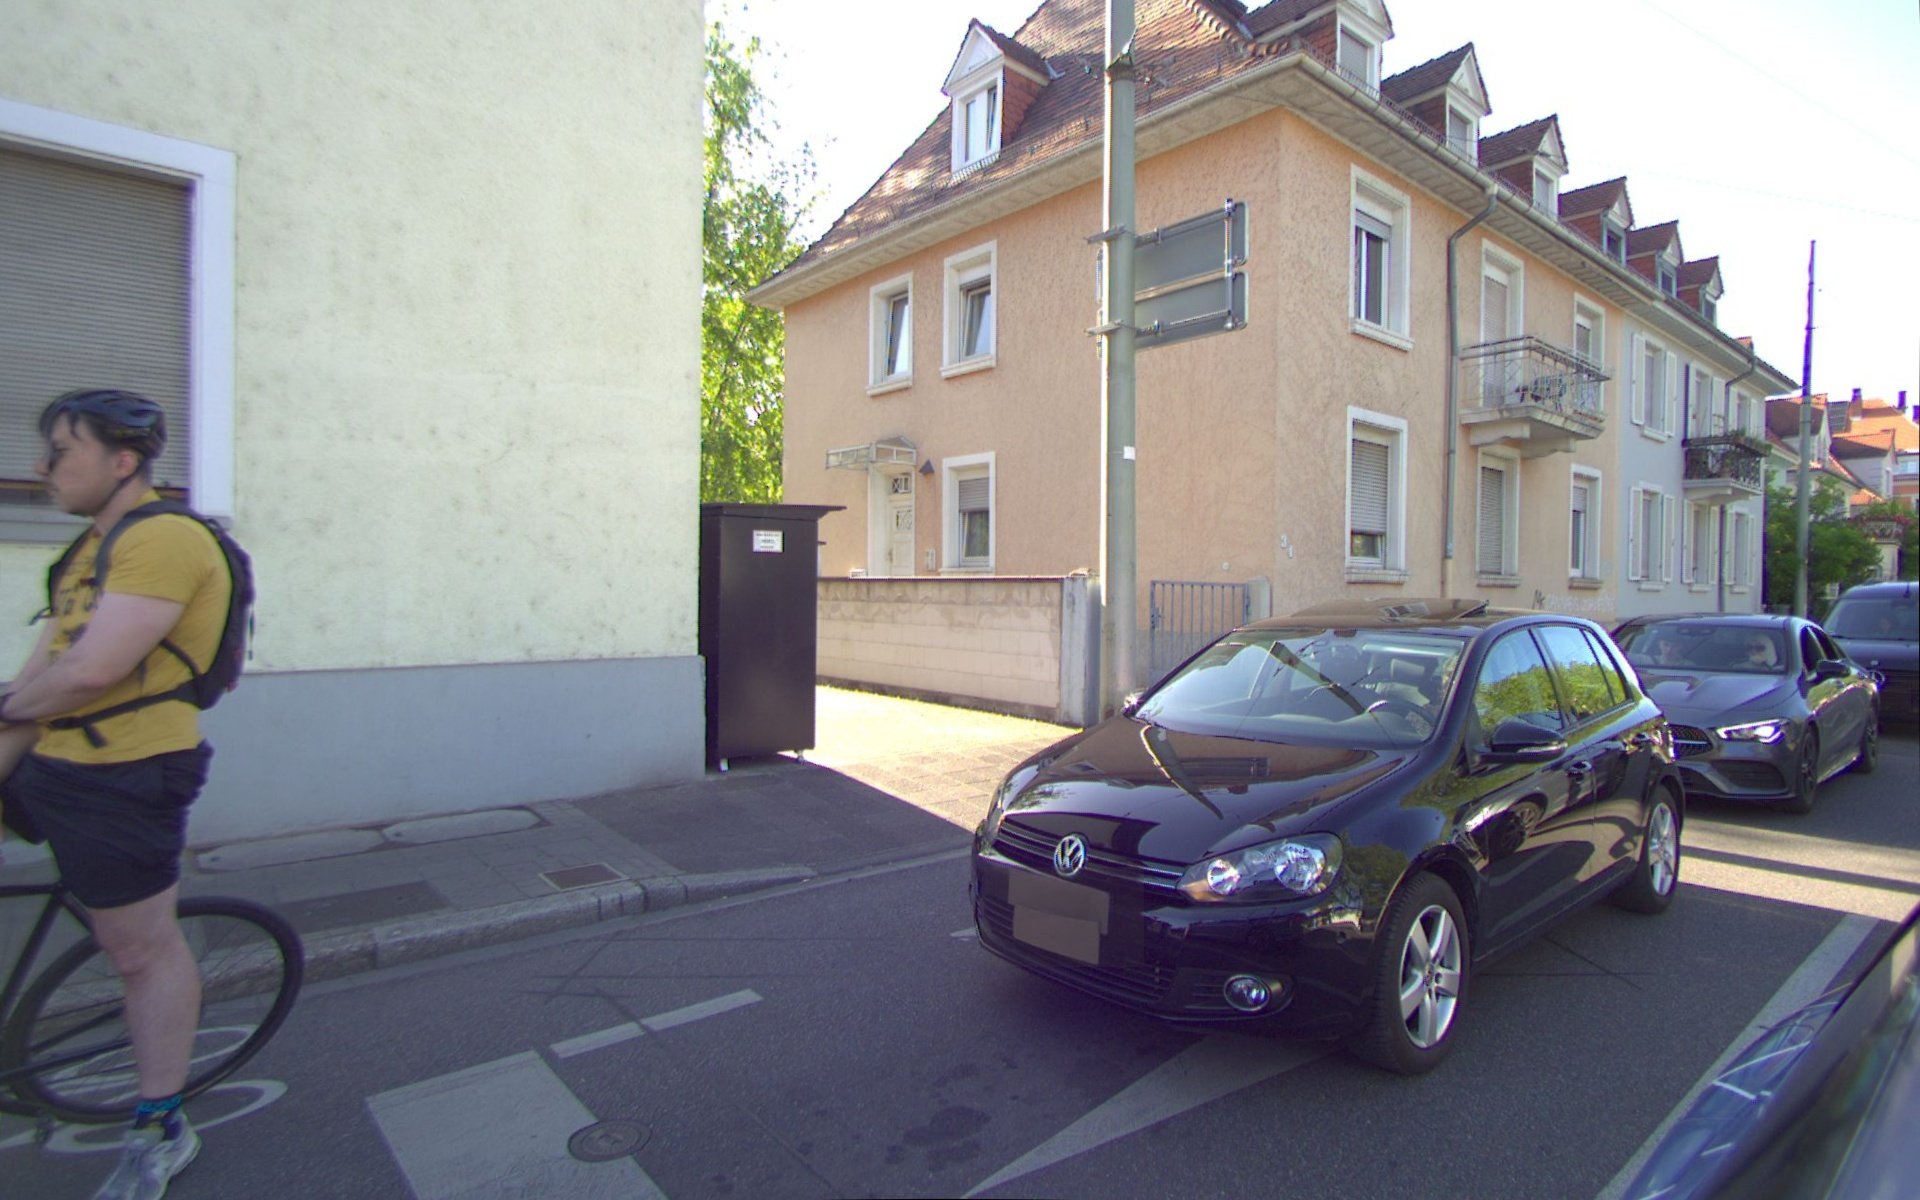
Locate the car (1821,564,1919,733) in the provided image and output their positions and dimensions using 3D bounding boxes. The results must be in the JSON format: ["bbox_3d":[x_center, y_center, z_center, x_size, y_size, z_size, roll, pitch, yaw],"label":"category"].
[{"bbox_3d":[12.244,0.504,12.421,4.695,1.827,1.864,-1,0,-41],"label":"car"}]

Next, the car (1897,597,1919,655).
[{"bbox_3d":[26.509,0.664,26.972,3.930,1.476,1.839,-1,0,-41],"label":"car"}]

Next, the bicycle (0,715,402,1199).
[{"bbox_3d":[-2.373,0.901,2.384,1.749,1.044,0.756,-1,0,-40],"label":"bicycle"}]

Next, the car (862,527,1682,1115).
[{"bbox_3d":[1.690,0.618,4.611,3.979,1.527,1.731,2,-1,-41],"label":"car"}]

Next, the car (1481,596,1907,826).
[{"bbox_3d":[6.383,0.697,8.609,4.413,1.437,1.911,-1,0,-40],"label":"car"}]

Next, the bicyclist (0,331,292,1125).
[{"bbox_3d":[-2.228,0.268,2.511,0.868,1.684,0.807,0,0,-40],"label":"bicyclist"}]
